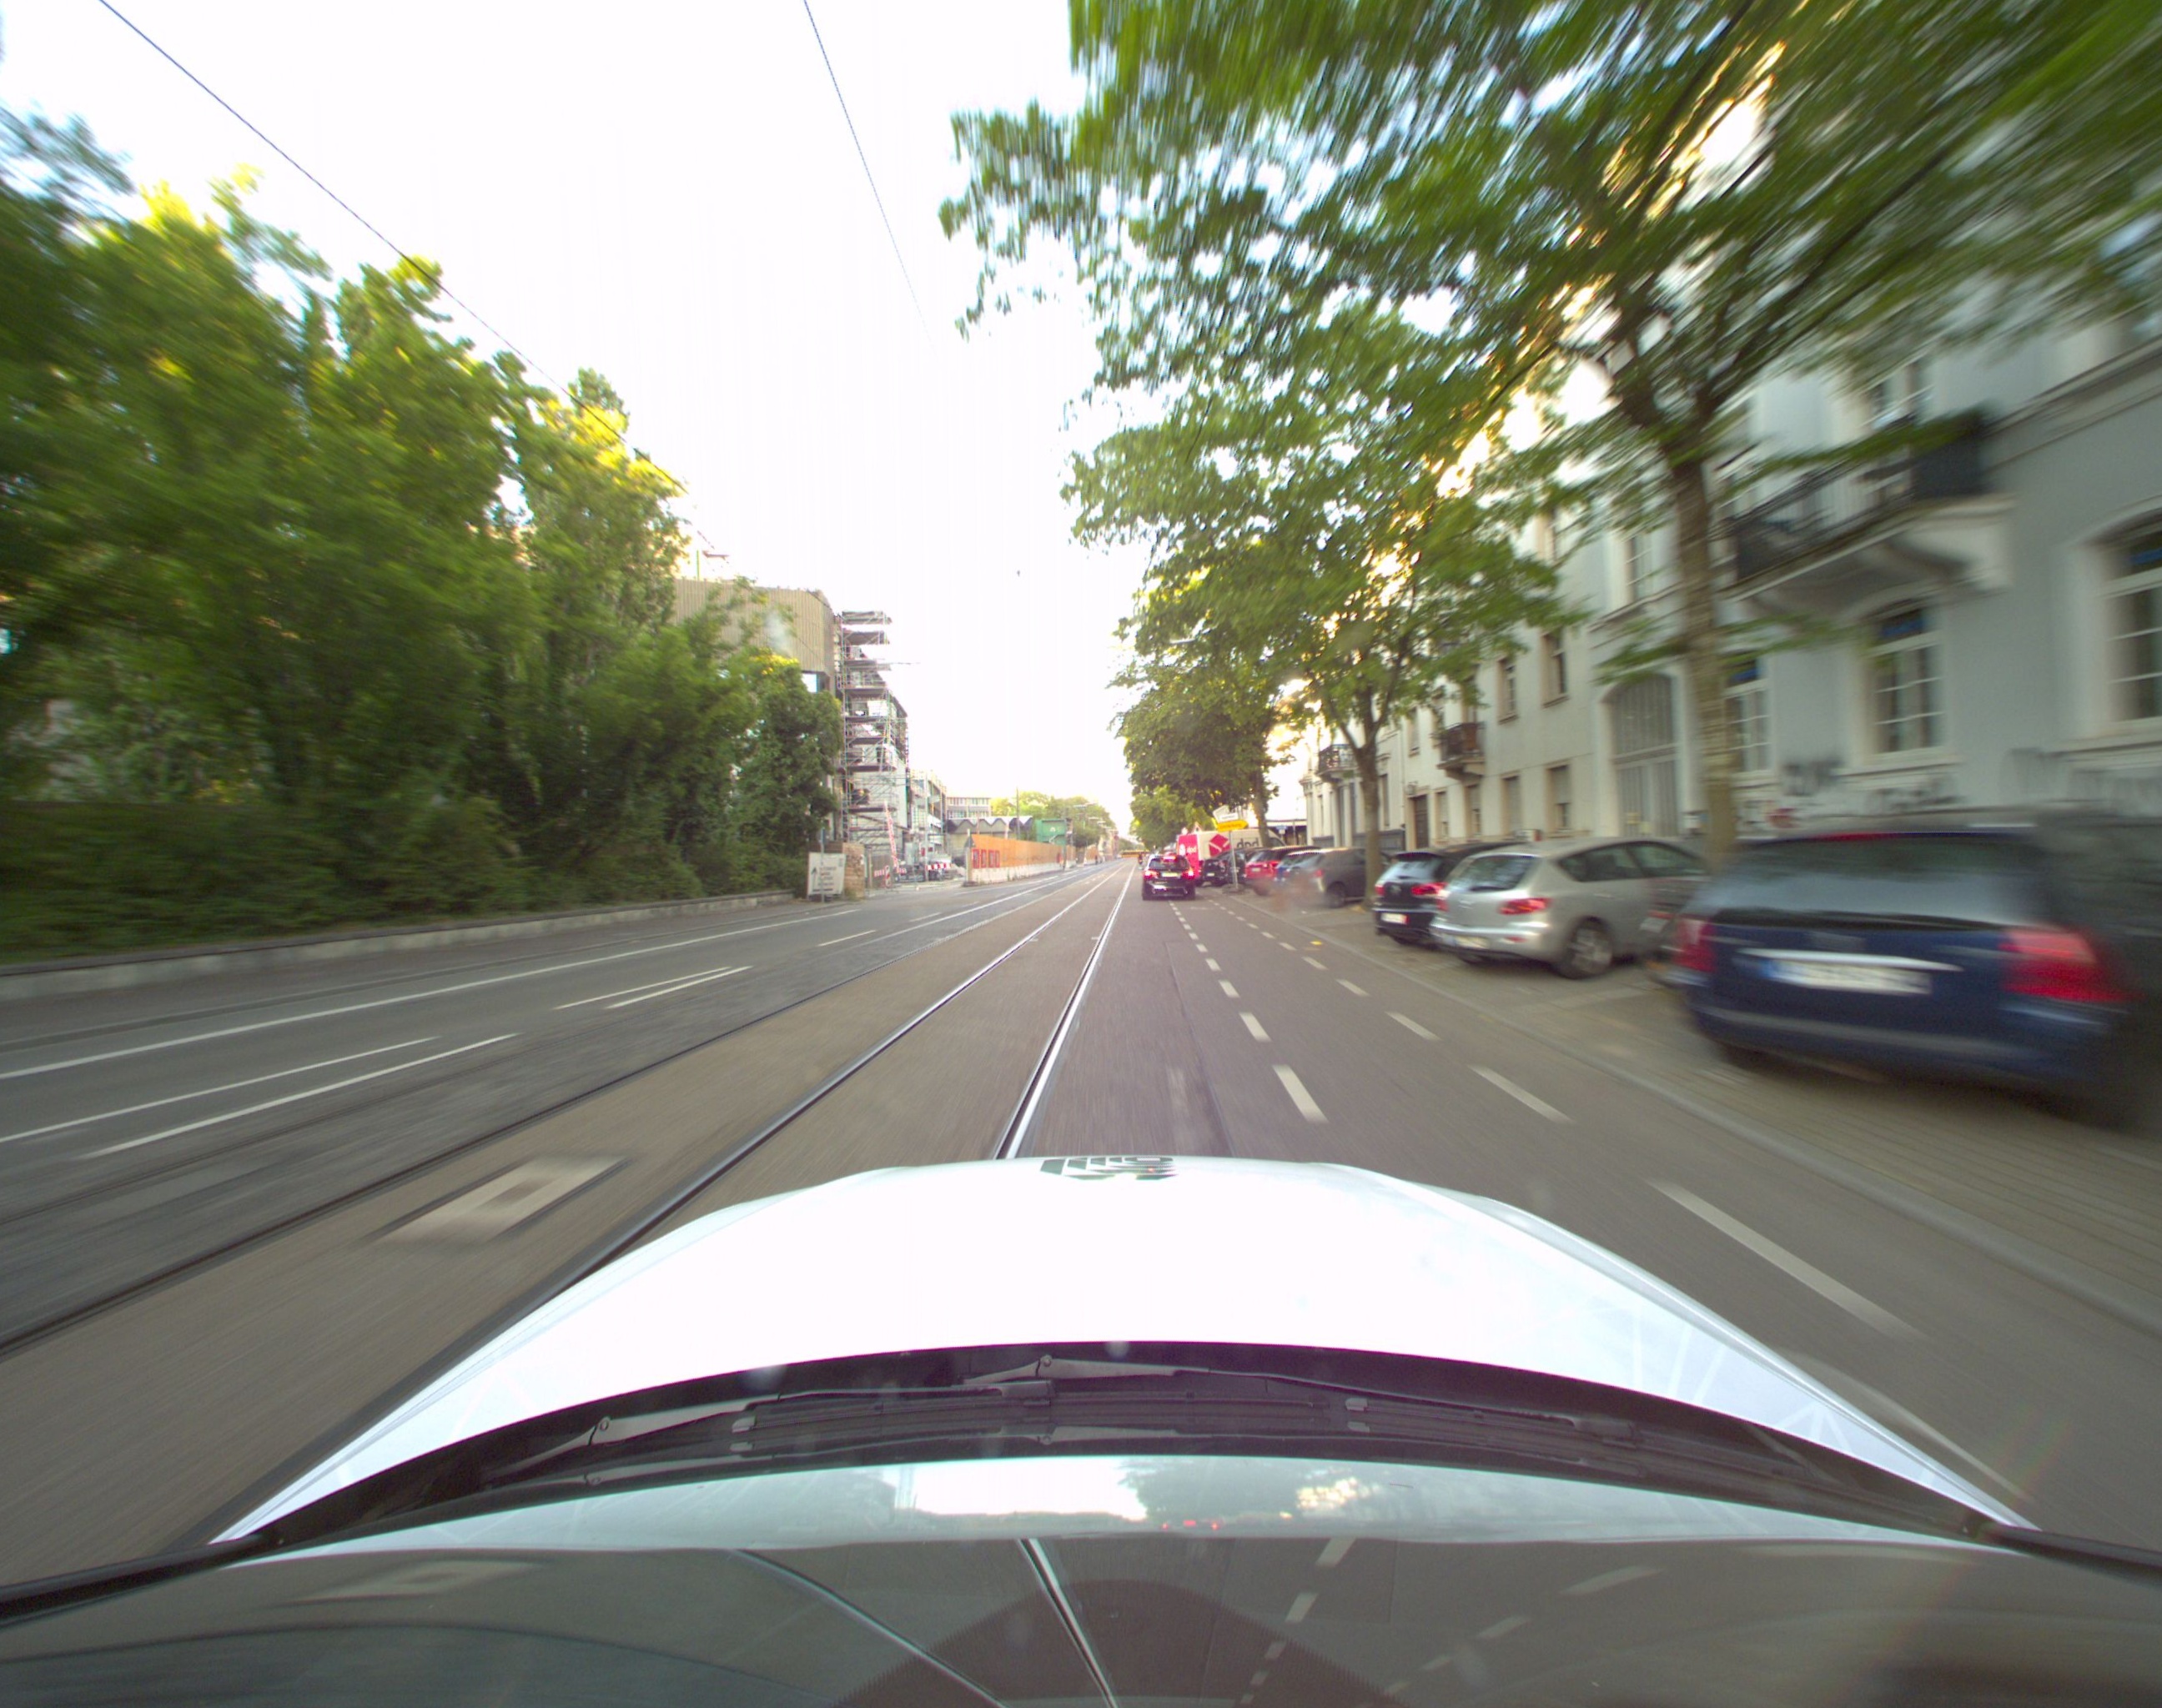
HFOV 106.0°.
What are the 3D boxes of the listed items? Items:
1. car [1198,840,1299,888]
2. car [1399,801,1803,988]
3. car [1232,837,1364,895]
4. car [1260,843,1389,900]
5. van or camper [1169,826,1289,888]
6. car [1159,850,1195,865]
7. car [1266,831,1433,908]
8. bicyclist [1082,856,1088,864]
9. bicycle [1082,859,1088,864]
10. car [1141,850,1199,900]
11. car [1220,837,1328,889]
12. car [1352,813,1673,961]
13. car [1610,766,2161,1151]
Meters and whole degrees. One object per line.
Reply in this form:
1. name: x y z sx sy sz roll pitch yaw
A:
1. car: 7.449 0.456 36.256 3.959 1.765 1.826 -5 0 -23
2. car: 6.028 0.381 9.540 3.954 1.603 1.829 -5 0 -18
3. car: 7.386 0.394 27.689 3.959 1.603 1.826 -4 0 -23
4. car: 7.395 0.526 24.662 3.664 1.445 1.643 -3 -1 -31
5. van or camper: 7.234 0.123 39.488 5.569 2.530 2.066 -5 0 -31
6. car: 11.502 0.428 97.656 3.943 1.722 1.629 -2 0 -11
7. car: 7.035 0.393 21.289 3.966 1.603 1.823 -5 0 -28
8. bicyclist: 0.685 0.990 141.367 0.941 1.346 1.112 -2 0 1
9. bicycle: 0.725 1.254 142.174 0.944 0.849 2.697 -2 0 1
10. car: 3.072 0.692 28.779 1.873 1.620 4.004 0 0 4
11. car: 8.001 0.378 33.837 3.959 1.765 1.826 -5 0 -23
12. car: 6.202 0.402 11.778 3.955 1.603 1.828 -5 0 -19
13. car: 5.561 0.374 5.237 3.966 1.603 1.823 -5 -1 -28
